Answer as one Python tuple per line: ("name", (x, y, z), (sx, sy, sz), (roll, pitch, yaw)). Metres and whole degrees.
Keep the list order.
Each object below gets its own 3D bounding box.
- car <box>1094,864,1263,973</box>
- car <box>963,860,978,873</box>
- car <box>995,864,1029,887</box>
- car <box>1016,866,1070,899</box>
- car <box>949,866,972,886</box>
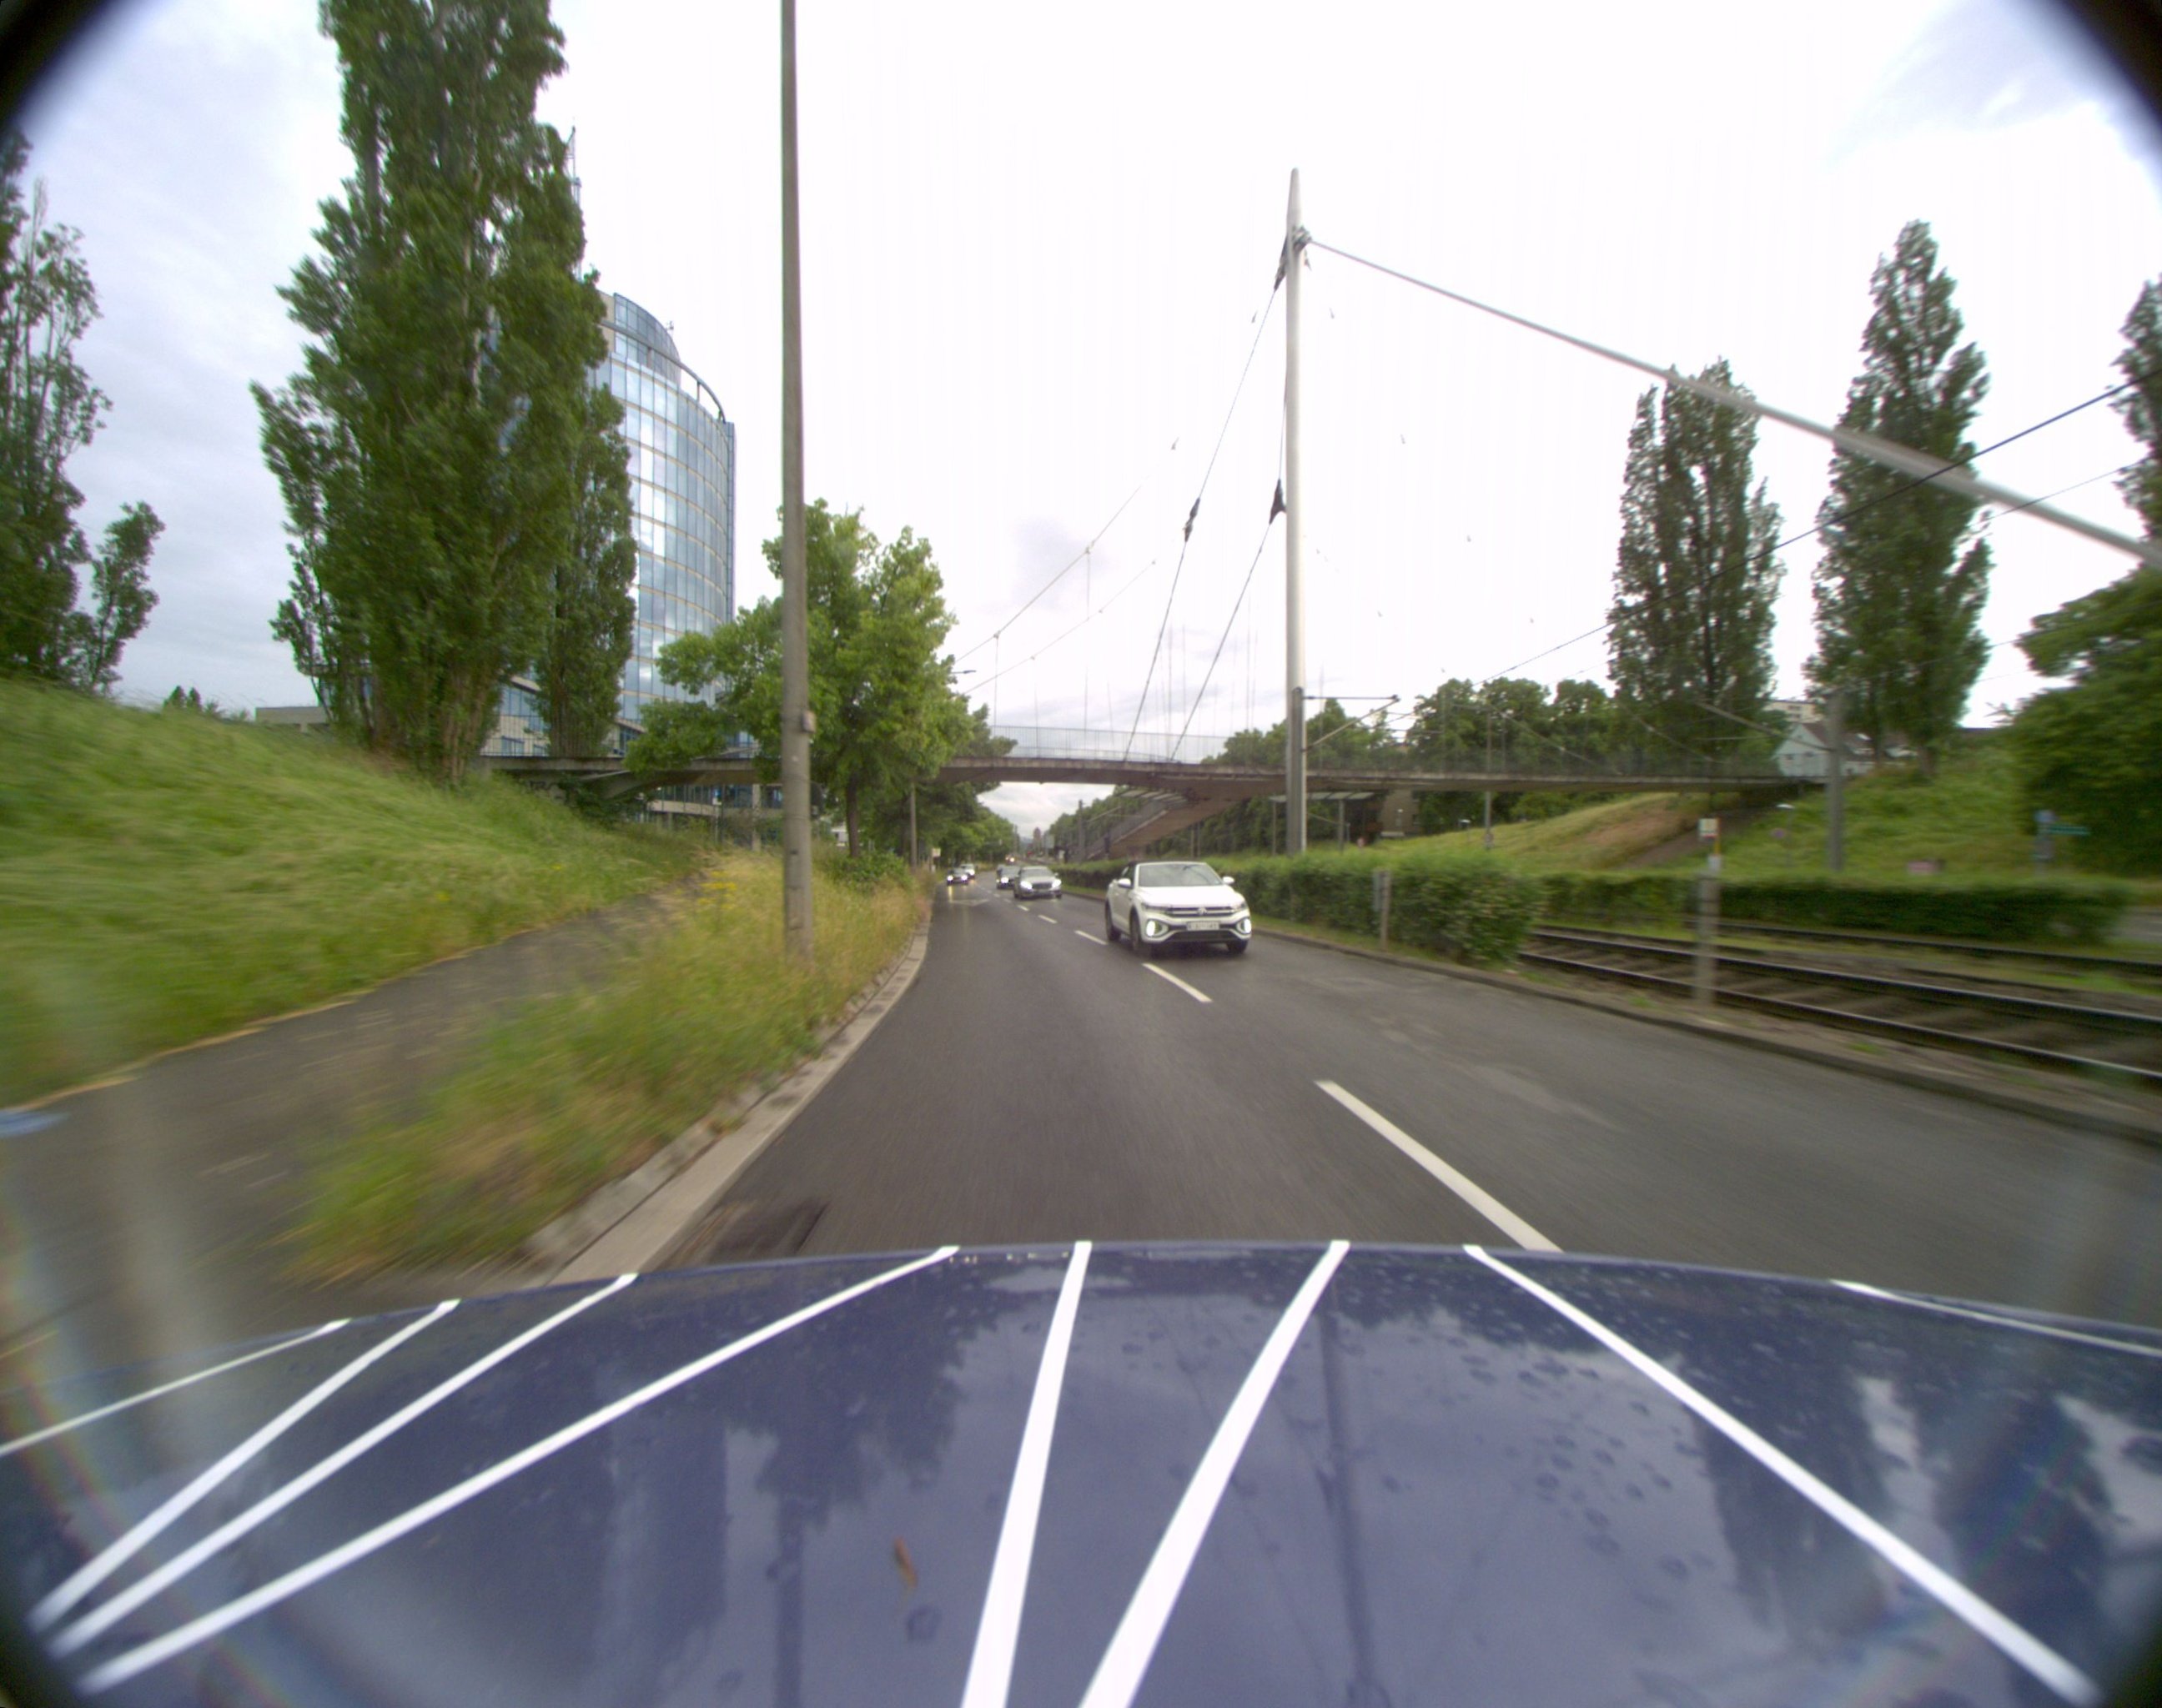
("car", (1.484, 0.969, 13.399), (1.877, 1.515, 4.537), (-1, 0, -7))
("car", (-13.919, 1.548, 95.696), (1.769, 1.492, 3.997), (-1, 0, -8))
("car", (-4.493, 1.378, 49.255), (1.738, 1.344, 3.996), (0, 0, -12))
("car", (-1.797, 1.266, 34.510), (1.873, 1.347, 4.057), (-1, -1, -11))
("car", (-9.946, 1.762, 62.464), (1.769, 1.492, 3.996), (0, 0, -11))
